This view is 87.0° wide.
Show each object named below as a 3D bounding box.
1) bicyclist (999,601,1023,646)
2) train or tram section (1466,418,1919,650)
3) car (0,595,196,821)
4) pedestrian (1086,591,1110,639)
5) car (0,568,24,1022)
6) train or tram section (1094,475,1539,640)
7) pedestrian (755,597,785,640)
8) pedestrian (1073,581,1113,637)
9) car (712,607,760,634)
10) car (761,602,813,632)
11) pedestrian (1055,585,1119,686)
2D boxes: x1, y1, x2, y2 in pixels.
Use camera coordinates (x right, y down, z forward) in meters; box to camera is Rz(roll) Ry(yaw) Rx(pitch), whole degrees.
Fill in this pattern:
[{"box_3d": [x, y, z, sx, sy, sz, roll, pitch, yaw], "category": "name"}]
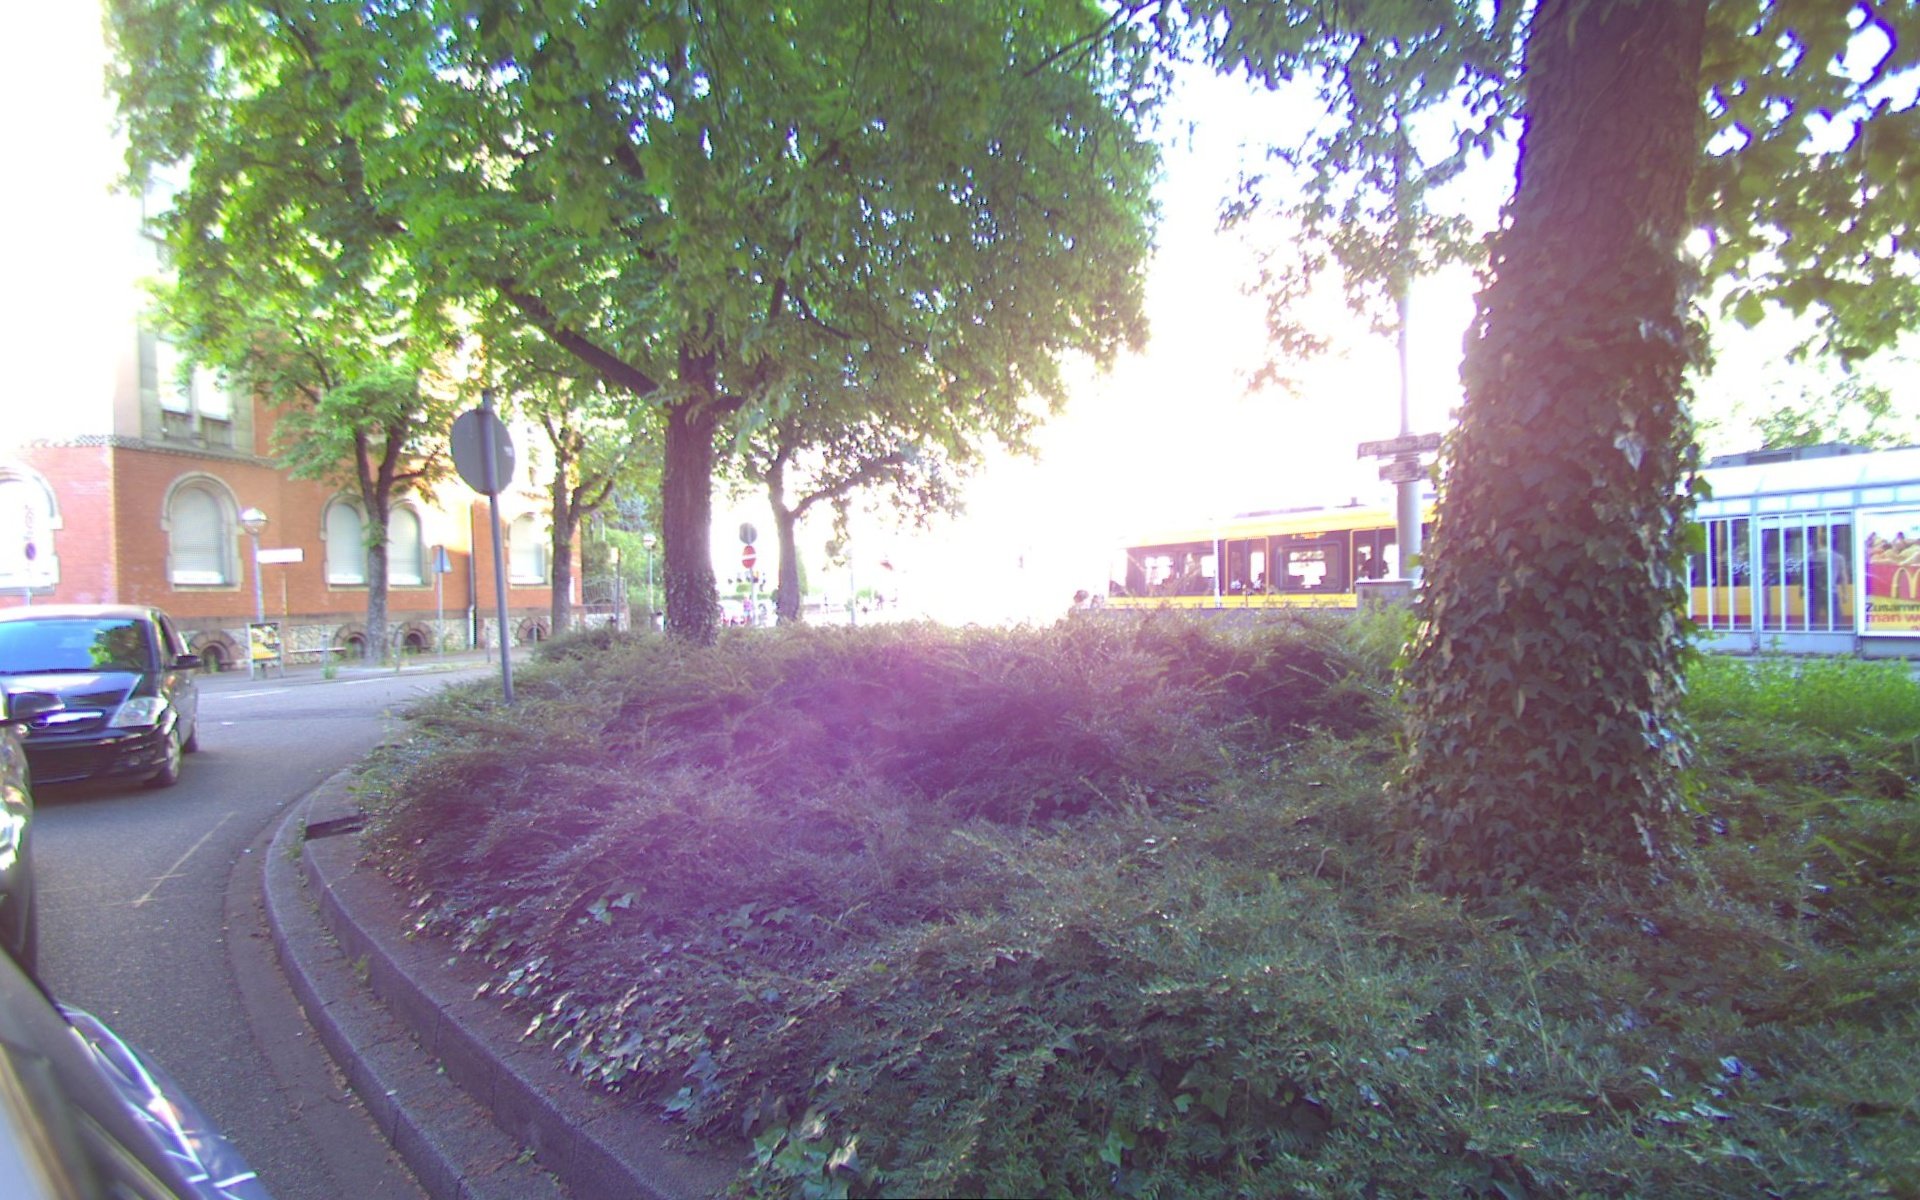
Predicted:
[{"box_3d": [1.807, 0.837, 35.958, 0.588, 1.585, 0.557, -2, 0, -30], "category": "bicyclist"}, {"box_3d": [15.535, -1.051, 17.507, 2.739, 3.614, 12.456, -2, 0, -32], "category": "train or tram section"}, {"box_3d": [-8.004, 0.836, 9.185, 1.653, 1.640, 3.695, -2, 0, -37], "category": "car"}, {"box_3d": [4.902, 0.526, 35.995, 0.716, 1.647, 0.903, -3, 1, 5], "category": "pedestrian"}, {"box_3d": [-5.432, 0.735, 4.535, 1.768, 1.590, 4.264, -1, -1, -43], "category": "car"}, {"box_3d": [8.918, -0.890, 28.216, 2.727, 3.584, 12.718, -2, 0, -32], "category": "train or tram section"}, {"box_3d": [-7.603, 0.738, 40.549, 0.722, 1.647, 0.897, -3, 1, 27], "category": "pedestrian"}, {"box_3d": [4.097, 0.283, 31.174, 0.715, 1.647, 0.905, -5, 2, -44], "category": "pedestrian"}, {"box_3d": [-13.484, 1.213, 60.720, 1.707, 1.427, 4.013, -2, 2, -29], "category": "car"}, {"box_3d": [-9.183, 0.885, 53.580, 1.707, 1.428, 4.013, -2, 0, -25], "category": "car"}, {"box_3d": [1.893, 0.521, 15.150, 0.698, 1.454, 0.602, -2, 0, -25], "category": "pedestrian"}]
